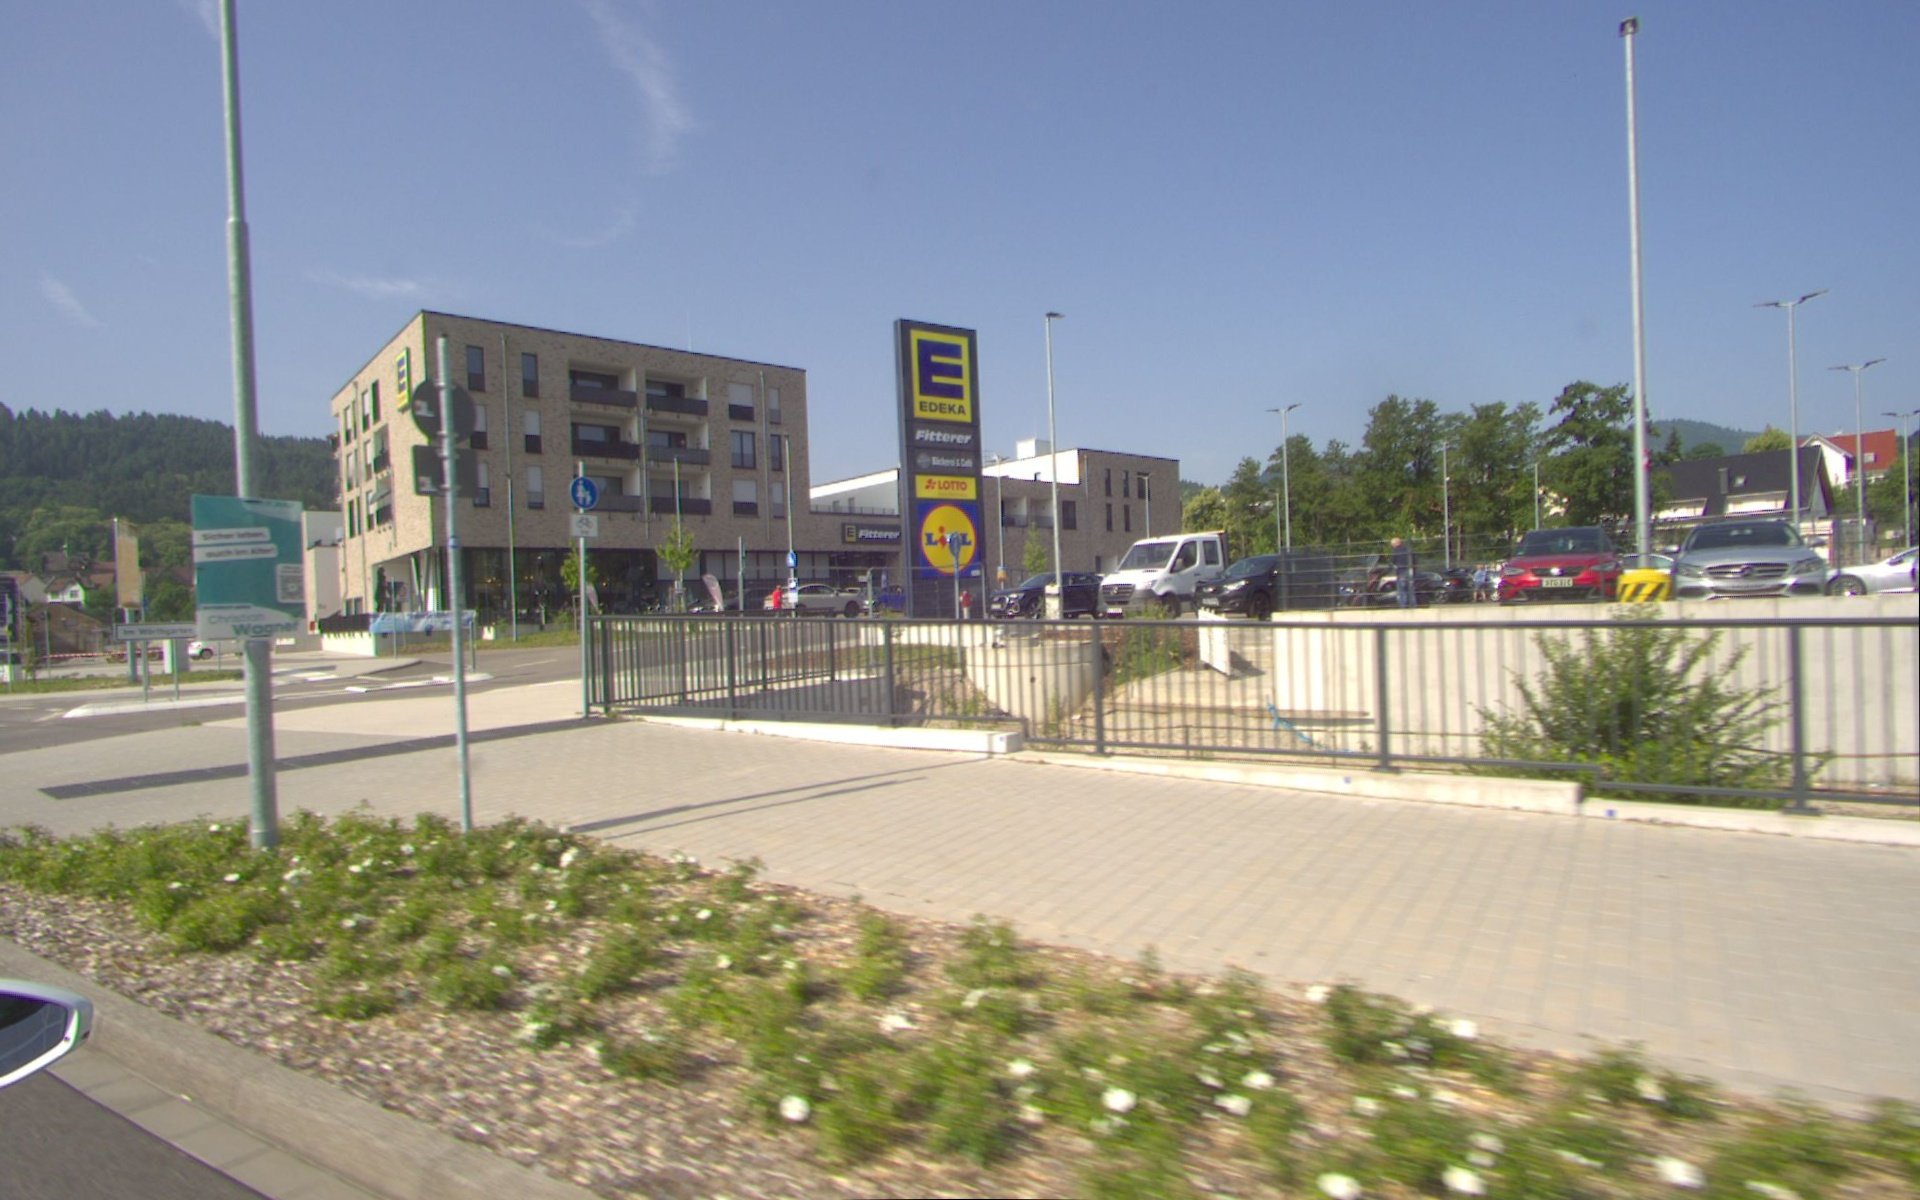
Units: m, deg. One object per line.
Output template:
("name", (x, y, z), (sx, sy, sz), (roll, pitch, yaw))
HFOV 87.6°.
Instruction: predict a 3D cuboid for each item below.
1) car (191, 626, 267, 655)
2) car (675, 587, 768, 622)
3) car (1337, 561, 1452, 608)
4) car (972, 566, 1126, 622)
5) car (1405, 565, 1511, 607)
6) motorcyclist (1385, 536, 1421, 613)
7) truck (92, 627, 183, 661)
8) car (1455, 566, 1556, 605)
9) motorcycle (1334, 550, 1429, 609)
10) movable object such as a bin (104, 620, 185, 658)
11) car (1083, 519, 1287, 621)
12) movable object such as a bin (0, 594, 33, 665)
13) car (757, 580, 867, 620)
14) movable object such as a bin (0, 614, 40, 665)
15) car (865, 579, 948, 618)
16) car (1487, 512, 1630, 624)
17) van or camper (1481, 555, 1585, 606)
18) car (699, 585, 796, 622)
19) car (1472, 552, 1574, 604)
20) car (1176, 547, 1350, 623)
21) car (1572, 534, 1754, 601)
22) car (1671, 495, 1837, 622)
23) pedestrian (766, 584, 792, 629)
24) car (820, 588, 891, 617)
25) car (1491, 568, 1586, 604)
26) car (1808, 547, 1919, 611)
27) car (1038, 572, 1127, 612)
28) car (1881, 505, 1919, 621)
("car", (-45.473, 2.496, 62.337), (1.573, 1.514, 3.395), (-4, -1, 33))
("car", (-12.617, 0.206, 53.133), (4.413, 1.577, 1.840), (-4, 4, -43))
("car", (16.896, -0.557, 39.093), (1.744, 1.594, 3.757), (1, -2, -39))
("car", (2.855, -0.132, 31.610), (4.799, 1.549, 1.910), (2, -2, -35))
("car", (21.501, -0.559, 43.350), (1.744, 1.594, 3.757), (1, -2, -39))
("motorcyclist", (9.239, -0.522, 20.896), (0.571, 1.562, 0.514), (0, -1, 13))
("truck", (-66.432, 3.539, 80.983), (5.254, 2.295, 2.208), (-3, 0, -30))
("car", (25.197, -0.612, 46.332), (1.744, 1.594, 3.757), (1, -2, -39))
("motorcycle", (8.842, -0.416, 21.017), (1.868, 1.207, 0.590), (0, 0, -13))
("movable object such as a bin", (-63.898, 3.049, 78.582), (4.560, 2.603, 1.915), (-3, 0, -31))
("car", (6.207, -0.690, 27.207), (6.019, 2.414, 2.046), (2, -2, -37))
("movable object such as a bin", (-55.472, 1.786, 57.352), (7.704, 3.902, 2.287), (-3, -3, 38))
("car", (-6.775, -0.038, 46.189), (4.766, 1.577, 1.841), (-4, 4, -41))
("movable object such as a bin", (-71.294, 2.925, 74.081), (2.811, 3.668, 5.722), (1, -2, -21))
("car", (-2.664, -0.059, 48.918), (1.863, 1.686, 4.322), (-6, 3, -36))
("car", (10.259, -0.427, 17.030), (1.756, 1.594, 3.998), (-1, -2, 36))
("van or camper", (35.964, -1.150, 62.948), (2.270, 2.883, 5.243), (1, -2, -40))
("car", (-10.656, 0.125, 50.368), (4.413, 1.577, 1.840), (-4, 4, -43))
("car", (31.458, -1.163, 56.076), (1.978, 2.650, 4.609), (1, -2, -40))
("car", (7.467, -0.289, 24.523), (4.423, 1.622, 1.820), (2, -2, -37))
("car", (20.180, -0.854, 28.850), (1.980, 1.638, 3.964), (2, -3, -42))
("car", (11.920, -0.493, 15.255), (1.756, 1.594, 3.998), (-1, -2, 36))
("pedestrian", (-7.282, 0.275, 40.384), (0.863, 1.763, 0.758), (0, -1, 5))
("car", (-5.892, 0.160, 56.177), (1.627, 1.411, 4.189), (-5, 1, -44))
("car", (28.726, -0.660, 49.799), (1.744, 1.594, 3.757), (1, -2, -39))
("car", (23.675, -0.520, 24.750), (1.783, 1.476, 3.963), (2, -3, -43))
("car", (6.816, -0.406, 55.879), (4.593, 2.039, 1.985), (-2, -2, 40))
("car", (14.344, -0.544, 13.839), (1.680, 1.594, 3.980), (-1, -2, 33))
